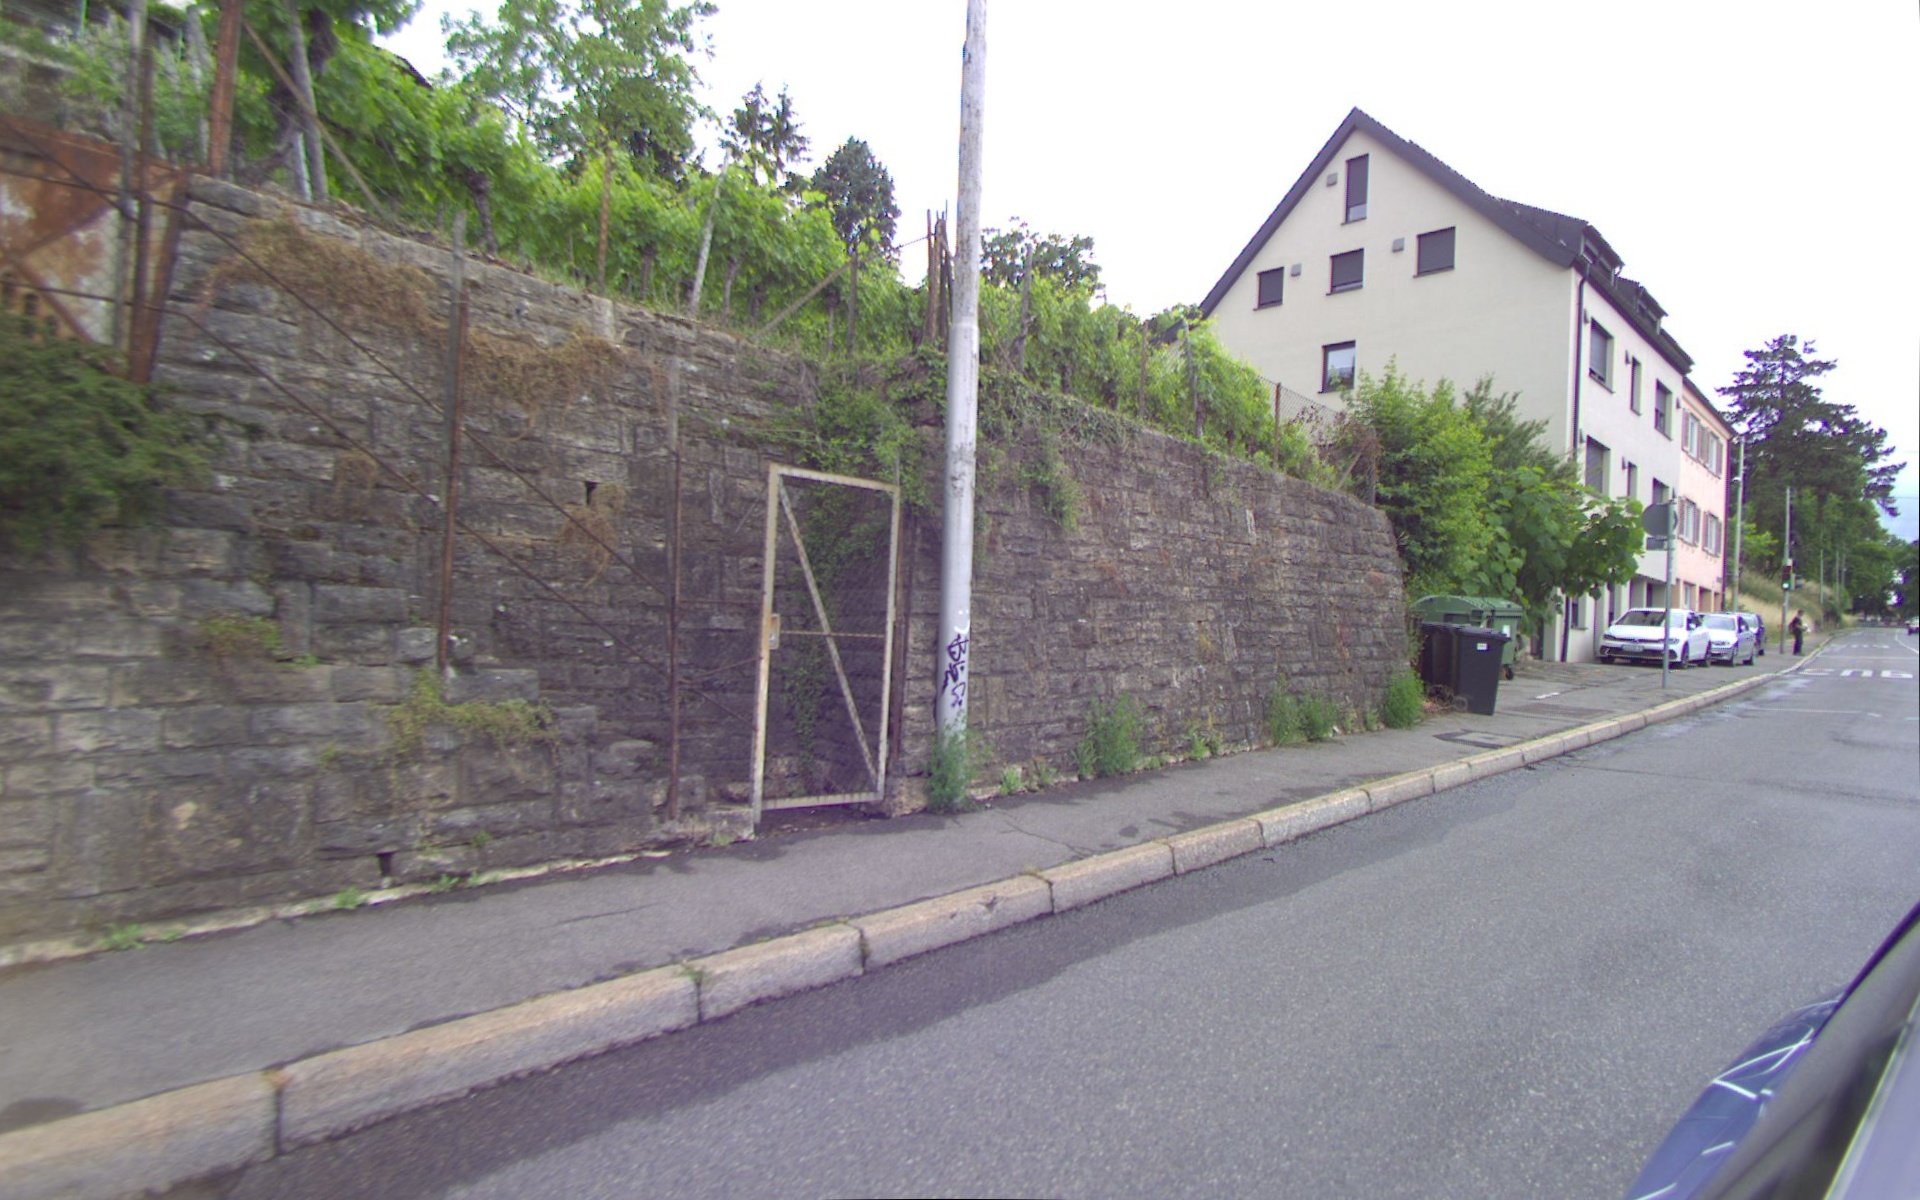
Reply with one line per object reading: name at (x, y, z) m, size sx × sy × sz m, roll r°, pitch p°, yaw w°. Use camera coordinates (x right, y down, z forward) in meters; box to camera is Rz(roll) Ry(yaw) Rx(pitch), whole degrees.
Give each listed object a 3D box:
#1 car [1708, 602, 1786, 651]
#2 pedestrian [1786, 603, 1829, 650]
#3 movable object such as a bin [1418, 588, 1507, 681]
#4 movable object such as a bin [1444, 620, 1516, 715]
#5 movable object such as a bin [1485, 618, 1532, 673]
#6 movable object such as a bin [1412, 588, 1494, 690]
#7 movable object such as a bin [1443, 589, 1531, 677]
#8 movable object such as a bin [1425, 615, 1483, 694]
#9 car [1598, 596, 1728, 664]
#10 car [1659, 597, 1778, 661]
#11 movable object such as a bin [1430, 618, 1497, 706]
car at (27.377, 0.890, 35.176) m, size 1.683 × 1.468 × 3.937 m, roll 7°, pitch 4°, yaw 43°
pedestrian at (31.345, 0.974, 37.435) m, size 0.871 × 1.717 × 0.874 m, roll 1°, pitch 0°, yaw -23°
movable object such as a bin at (8.475, 0.547, 17.073) m, size 1.047 × 1.462 × 1.187 m, roll 2°, pitch 1°, yaw 41°
movable object such as a bin at (6.367, 0.802, 12.398) m, size 0.738 × 1.072 × 0.672 m, roll 2°, pitch 1°, yaw 29°
movable object such as a bin at (10.112, 0.829, 18.643) m, size 0.594 × 0.954 × 0.630 m, roll 2°, pitch 1°, yaw 45°
movable object such as a bin at (7.575, 0.556, 15.528) m, size 1.041 × 1.462 × 1.404 m, roll 2°, pitch 1°, yaw 29°
movable object such as a bin at (9.369, 0.559, 17.988) m, size 1.048 × 1.462 × 1.186 m, roll 2°, pitch 1°, yaw 45°
movable object such as a bin at (7.110, 0.772, 14.566) m, size 0.705 × 1.072 × 0.541 m, roll 2°, pitch 1°, yaw 29°
car at (17.480, 0.704, 25.099) m, size 3.937 × 1.440 × 1.797 m, roll 1°, pitch 2°, yaw -43°
car at (21.113, 0.799, 28.082) m, size 4.638 × 1.468 × 1.797 m, roll 2°, pitch 3°, yaw -44°
movable object such as a bin at (6.615, 0.792, 13.286) m, size 0.738 × 1.072 × 0.672 m, roll 2°, pitch 1°, yaw 29°
